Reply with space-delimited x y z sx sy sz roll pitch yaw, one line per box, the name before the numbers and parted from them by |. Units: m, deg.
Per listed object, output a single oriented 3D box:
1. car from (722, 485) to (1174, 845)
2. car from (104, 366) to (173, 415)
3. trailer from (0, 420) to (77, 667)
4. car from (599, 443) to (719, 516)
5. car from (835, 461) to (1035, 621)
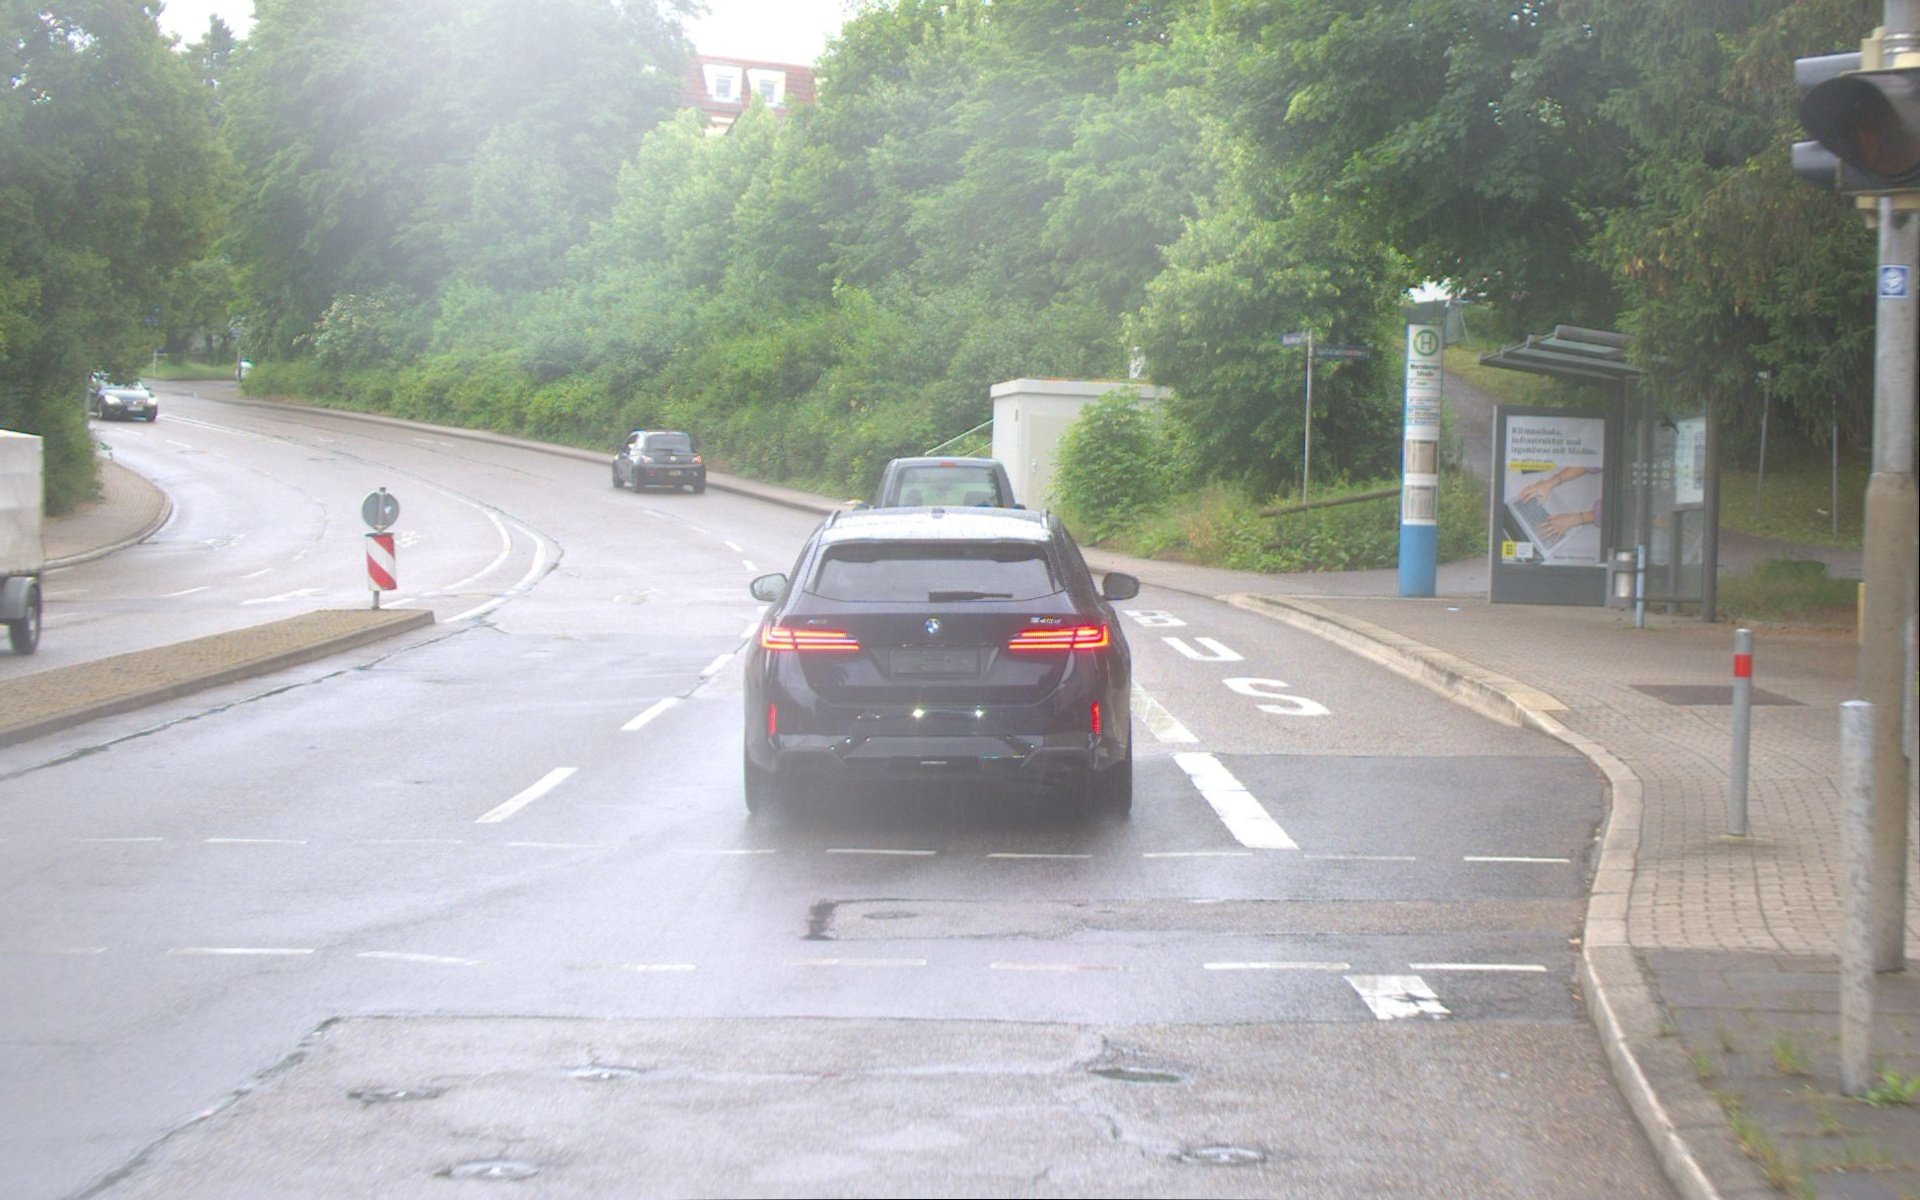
car | -0.211 0.269 17.873 1.993 1.581 4.664 2 1 -4
car | -26.252 -6.679 109.816 1.891 1.482 4.236 -1 3 -17
trailer | -9.444 -0.527 31.299 1.896 2.171 4.036 1 1 -2
car | -7.232 -2.892 82.224 1.851 1.656 4.002 1 2 -20
car | -0.341 -0.703 39.540 1.993 1.742 4.001 0 2 -5
